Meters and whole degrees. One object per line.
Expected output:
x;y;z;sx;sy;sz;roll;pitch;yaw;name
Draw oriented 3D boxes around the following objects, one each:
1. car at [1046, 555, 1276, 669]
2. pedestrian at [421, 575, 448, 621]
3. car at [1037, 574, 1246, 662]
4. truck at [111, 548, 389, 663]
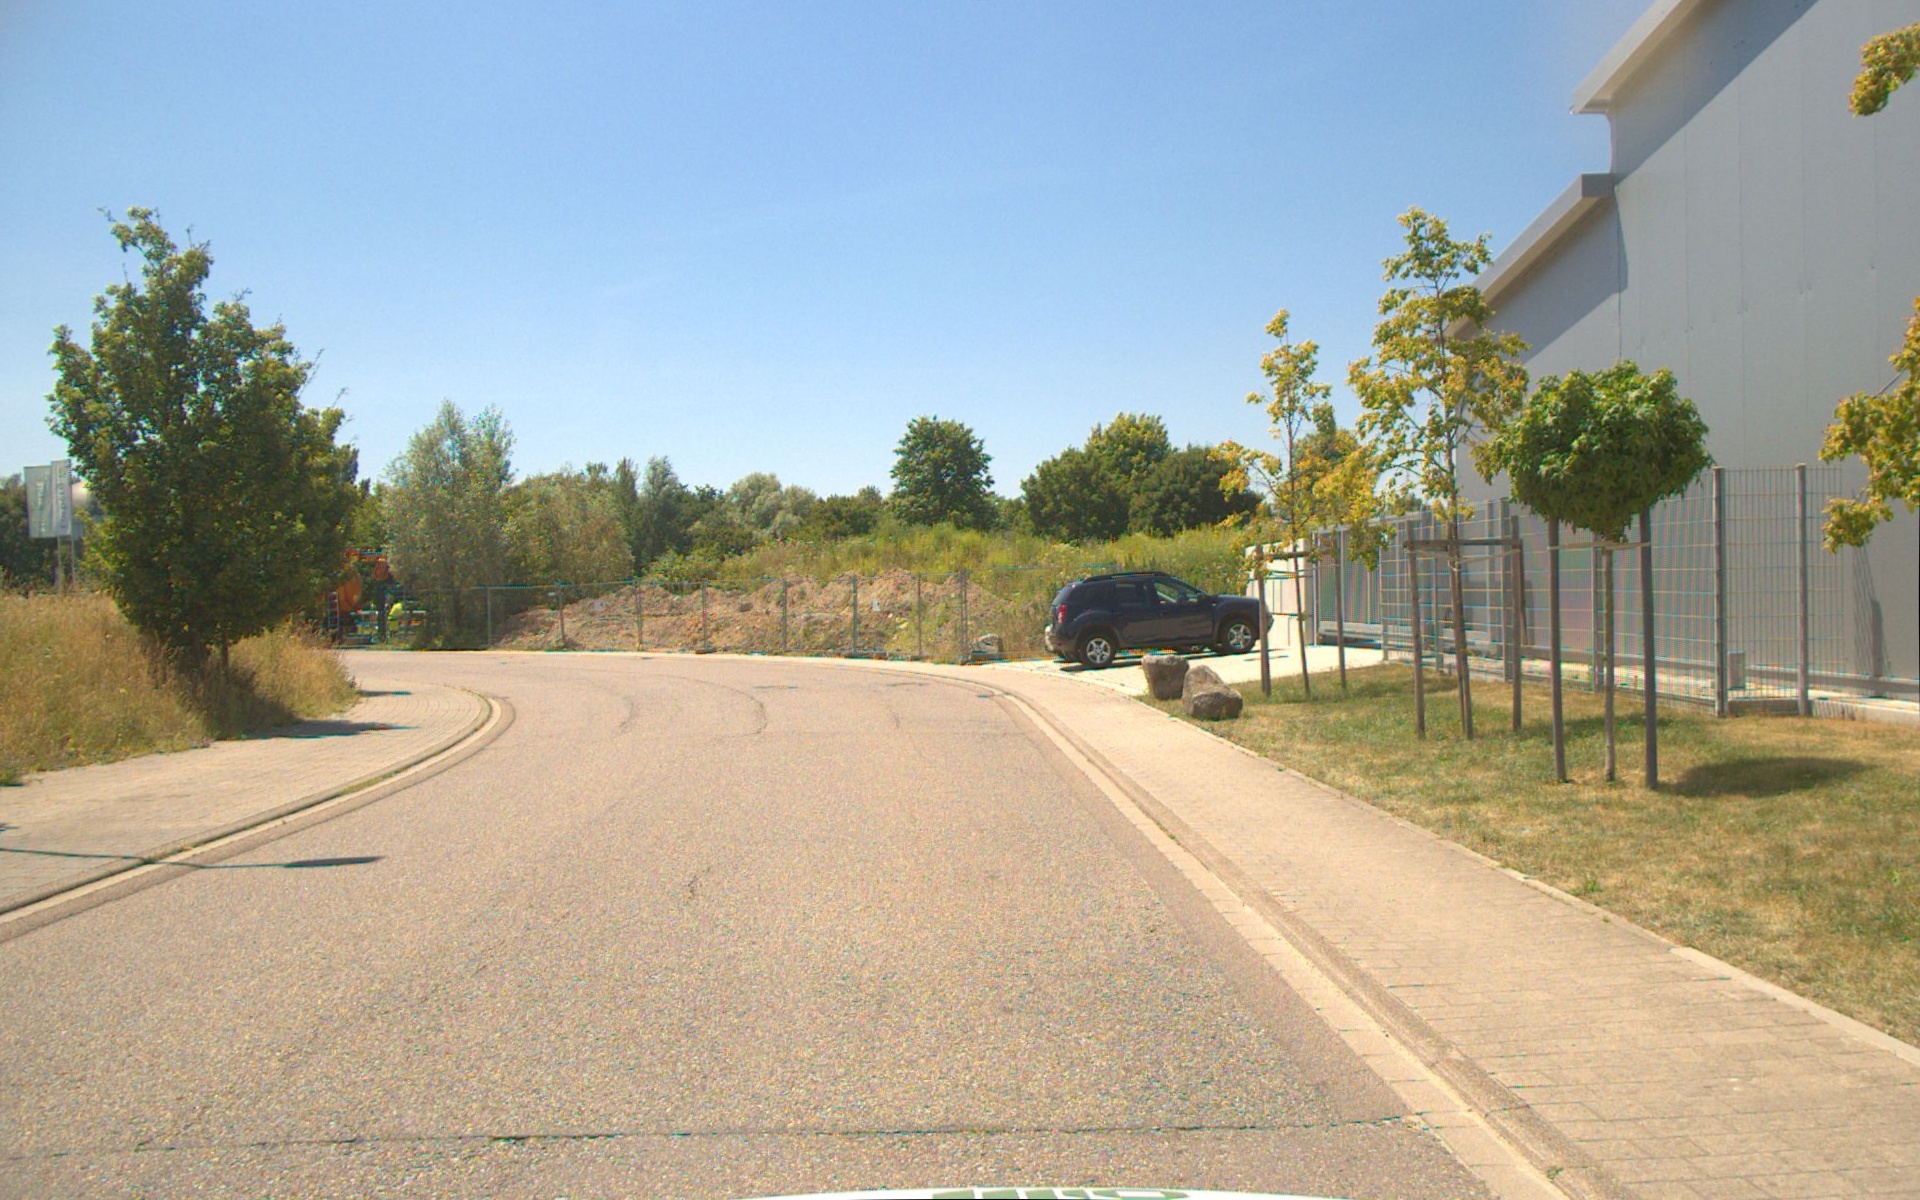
3.738;0.216;31.226;3.931;1.683;1.857;-6;0;-3;car
-21.736;-0.088;68.421;0.859;1.856;0.739;-1;0;-4;pedestrian
3.665;0.350;33.821;3.930;1.487;1.891;-4;0;-3;car
-26.008;0.158;61.070;8.417;3.872;4.160;-2;1;-5;truck
